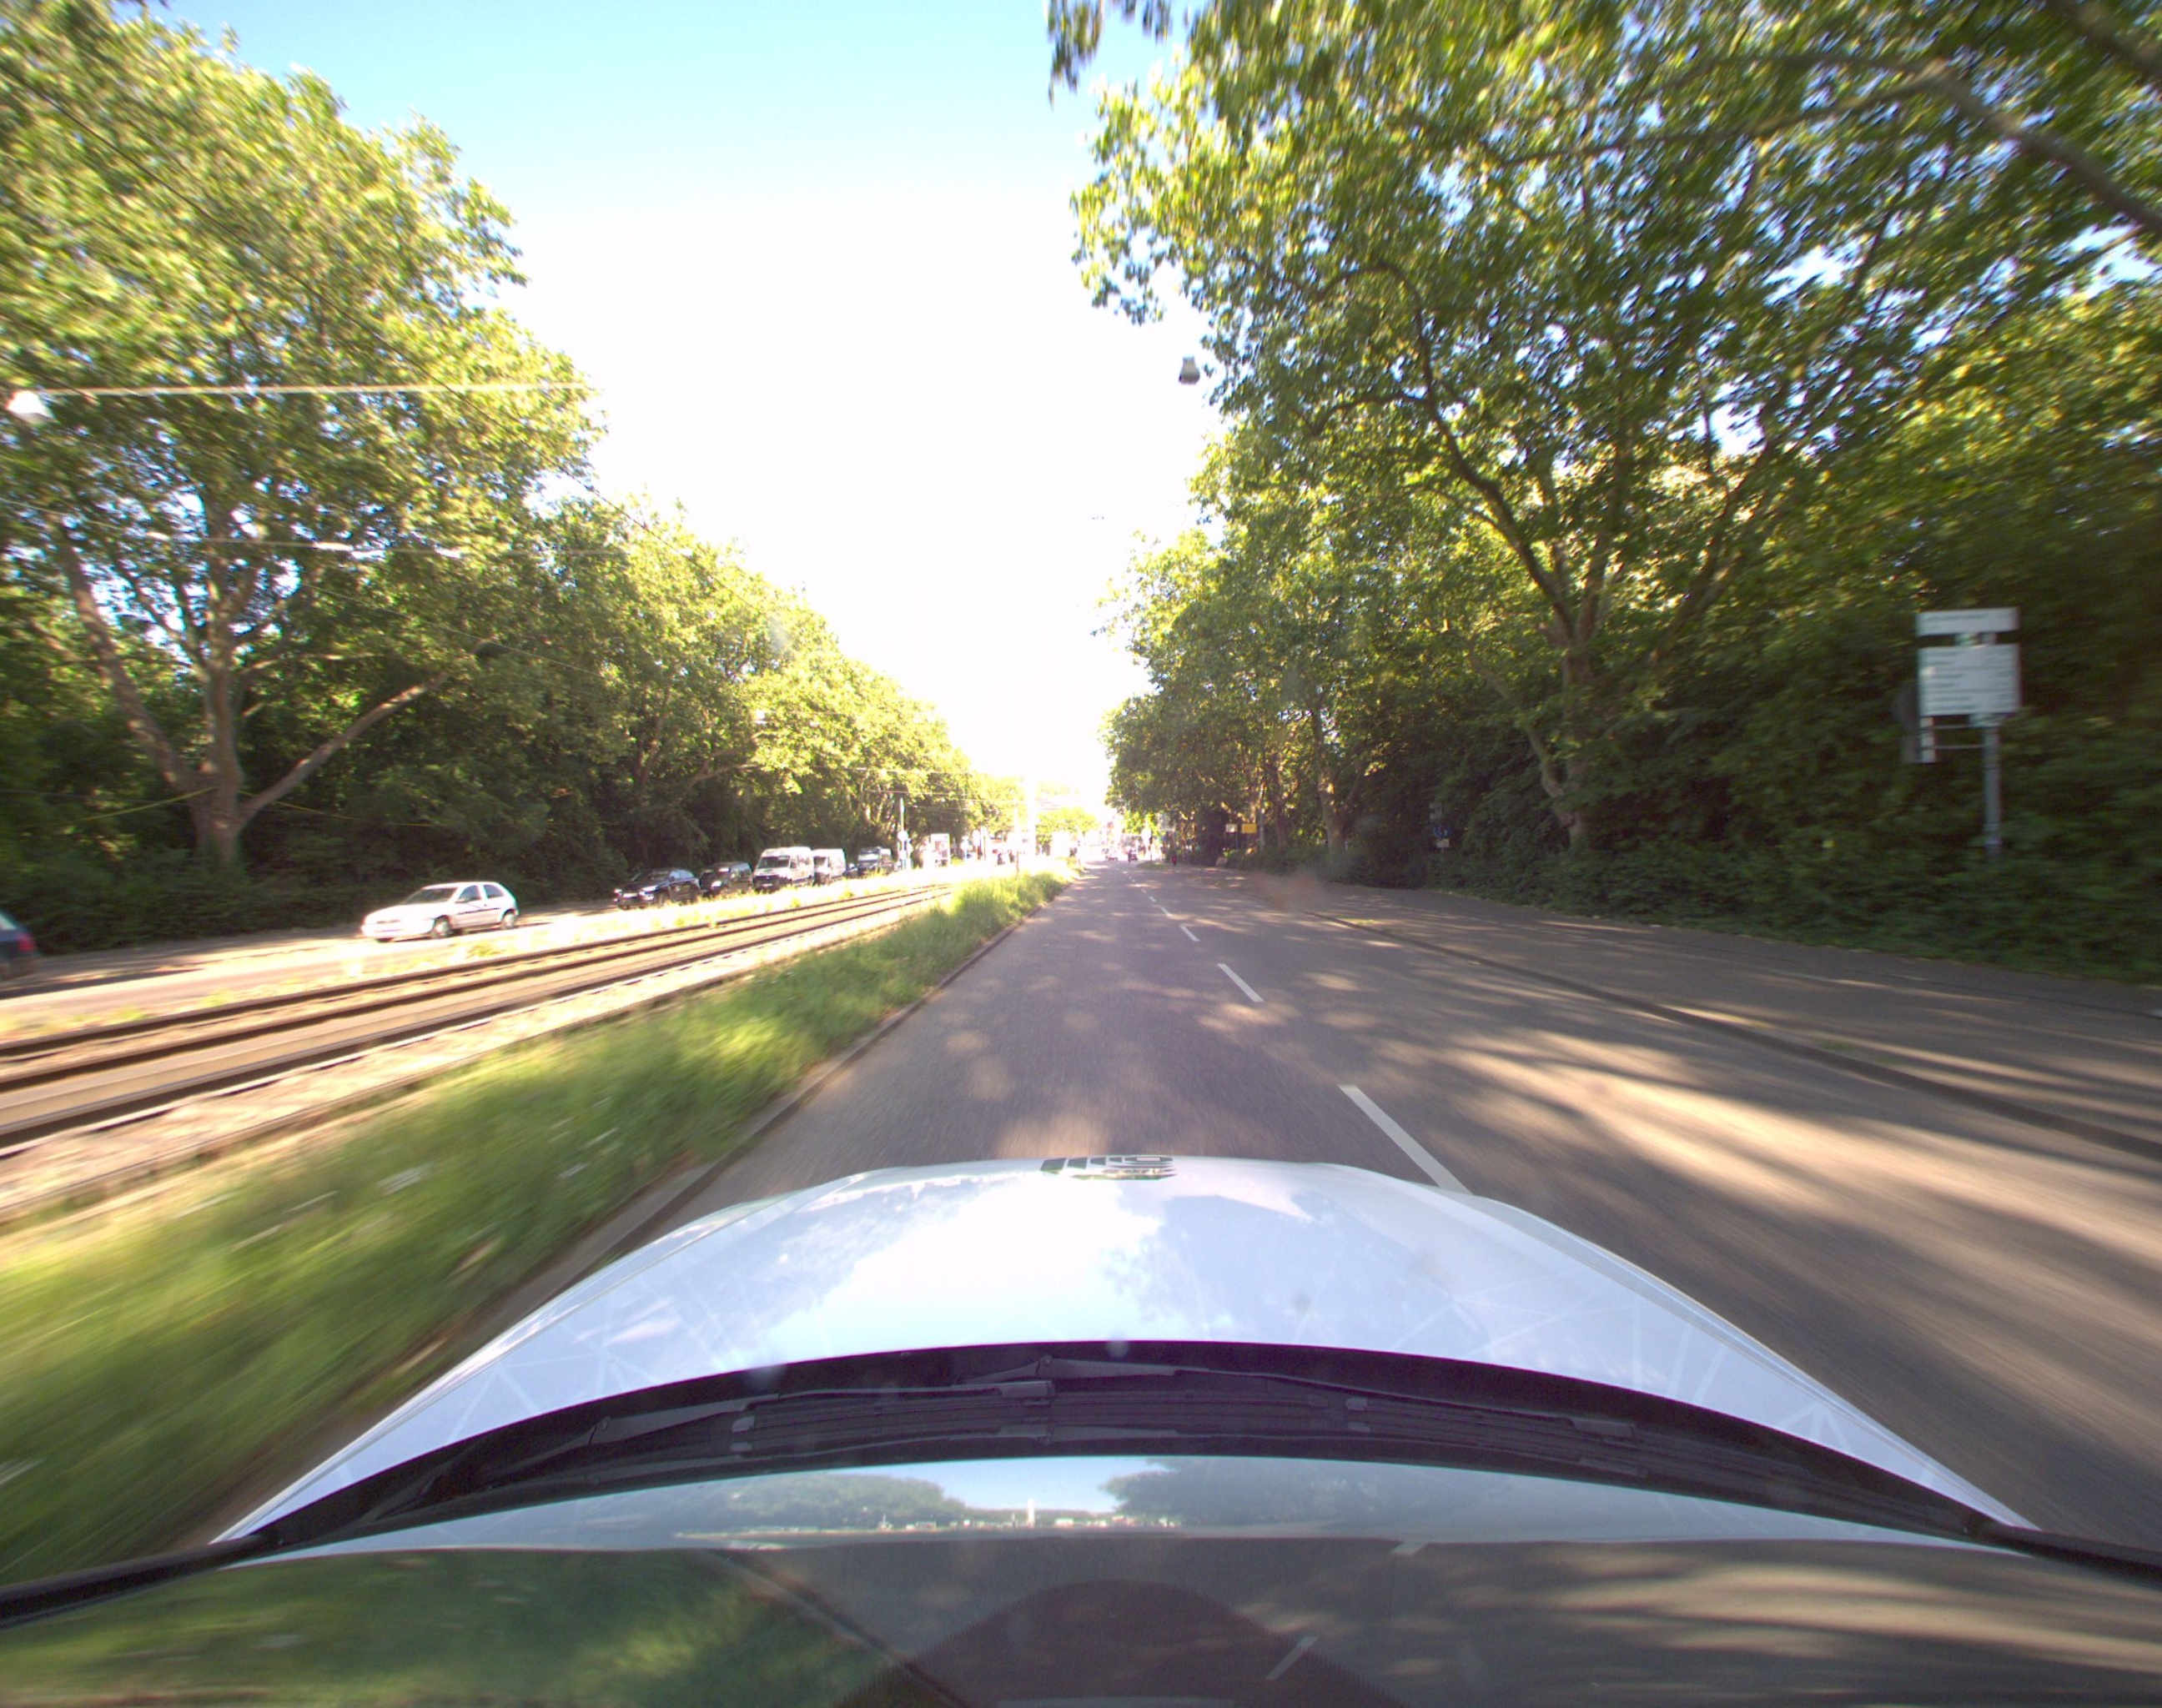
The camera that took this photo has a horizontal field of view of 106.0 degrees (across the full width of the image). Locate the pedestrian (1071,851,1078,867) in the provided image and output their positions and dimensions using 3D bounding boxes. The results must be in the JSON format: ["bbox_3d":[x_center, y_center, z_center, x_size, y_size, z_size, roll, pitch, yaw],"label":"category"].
[{"bbox_3d":[-0.666,0.501,82.707,0.515,1.568,0.511,-4,-1,30],"label":"pedestrian"}]

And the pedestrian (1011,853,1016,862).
[{"bbox_3d":[-10.709,0.569,129.153,0.668,1.324,0.756,-4,0,-2],"label":"pedestrian"}]

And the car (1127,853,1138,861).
[{"bbox_3d":[9.569,0.537,151.853,1.794,1.439,4.045,0,0,0],"label":"car"}]

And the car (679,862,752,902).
[{"bbox_3d":[-17.513,1.297,39.222,1.734,1.728,3.879,-3,0,-2],"label":"car"}]

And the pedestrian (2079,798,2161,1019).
[{"bbox_3d":[8.294,0.391,6.000,0.645,1.635,0.928,-4,0,1],"label":"pedestrian"}]

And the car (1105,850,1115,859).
[{"bbox_3d":[5.810,0.119,164.213,1.794,1.638,4.044,-1,0,0],"label":"car"}]

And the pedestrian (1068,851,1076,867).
[{"bbox_3d":[-0.950,0.498,82.300,0.515,1.568,0.511,-4,-1,30],"label":"pedestrian"}]

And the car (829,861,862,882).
[{"bbox_3d":[-18.016,1.316,62.485,1.648,1.512,3.262,-3,0,-3],"label":"car"}]

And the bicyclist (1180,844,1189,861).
[{"bbox_3d":[10.866,-0.168,85.454,0.697,1.728,1.079,-1,0,-1],"label":"bicyclist"}]

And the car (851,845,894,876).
[{"bbox_3d":[-17.944,0.565,70.468,2.177,2.520,6.029,-3,0,-1],"label":"car"}]

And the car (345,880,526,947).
[{"bbox_3d":[-16.981,1.494,21.699,1.734,1.437,3.849,-3,0,-2],"label":"car"}]

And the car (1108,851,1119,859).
[{"bbox_3d":[6.207,0.231,156.765,1.923,1.472,4.854,-1,0,0],"label":"car"}]

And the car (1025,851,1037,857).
[{"bbox_3d":[-15.027,0.066,243.848,1.905,1.649,4.202,-1,0,21],"label":"car"}]

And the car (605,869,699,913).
[{"bbox_3d":[-17.280,1.455,33.026,1.734,1.555,3.879,-3,0,-2],"label":"car"}]

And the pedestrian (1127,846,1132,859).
[{"bbox_3d":[7.043,-0.166,117.785,0.655,1.871,0.677,-1,0,0],"label":"pedestrian"}]

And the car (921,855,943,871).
[{"bbox_3d":[-17.099,1.052,93.745,1.898,1.652,3.969,-3,0,-3],"label":"car"}]

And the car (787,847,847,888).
[{"bbox_3d":[-17.822,0.909,55.334,2.178,2.520,6.265,-3,0,-3],"label":"car"}]

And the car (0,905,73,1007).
[{"bbox_3d":[-16.611,1.544,10.507,1.822,1.437,4.321,-3,0,-2],"label":"car"}]

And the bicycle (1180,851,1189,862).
[{"bbox_3d":[10.872,0.259,85.450,0.697,1.107,1.929,-1,0,-1],"label":"bicycle"}]

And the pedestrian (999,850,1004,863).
[{"bbox_3d":[-11.038,0.396,113.311,0.645,1.772,0.650,0,-1,3],"label":"pedestrian"}]

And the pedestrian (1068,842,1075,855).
[{"bbox_3d":[-1.326,-0.778,109.746,0.656,1.722,0.703,0,0,-35],"label":"pedestrian"}]

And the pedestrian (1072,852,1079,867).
[{"bbox_3d":[-0.530,0.533,83.344,0.587,1.519,0.514,-3,0,1],"label":"pedestrian"}]

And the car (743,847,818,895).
[{"bbox_3d":[-17.411,0.933,47.540,2.177,2.520,6.046,-3,0,-2],"label":"car"}]

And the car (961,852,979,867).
[{"bbox_3d":[-16.719,0.790,123.007,2.061,2.124,5.087,-3,0,-1],"label":"car"}]

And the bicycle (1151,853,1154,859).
[{"bbox_3d":[14.614,0.393,167.272,0.497,1.075,1.800,0,-1,0],"label":"bicycle"}]

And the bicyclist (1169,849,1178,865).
[{"bbox_3d":[9.106,0.274,80.003,0.764,1.513,0.650,-1,0,-1],"label":"bicyclist"}]

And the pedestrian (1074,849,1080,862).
[{"bbox_3d":[-0.500,0.233,106.110,0.740,1.694,0.791,0,0,1],"label":"pedestrian"}]

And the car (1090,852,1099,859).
[{"bbox_3d":[2.780,0.242,165.917,1.802,1.452,3.999,0,0,0],"label":"car"}]

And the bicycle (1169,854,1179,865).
[{"bbox_3d":[9.118,0.544,79.998,0.763,1.107,1.800,-1,0,0],"label":"bicycle"}]

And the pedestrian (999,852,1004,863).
[{"bbox_3d":[-11.020,0.504,112.694,0.591,1.544,0.627,0,-1,1],"label":"pedestrian"}]
